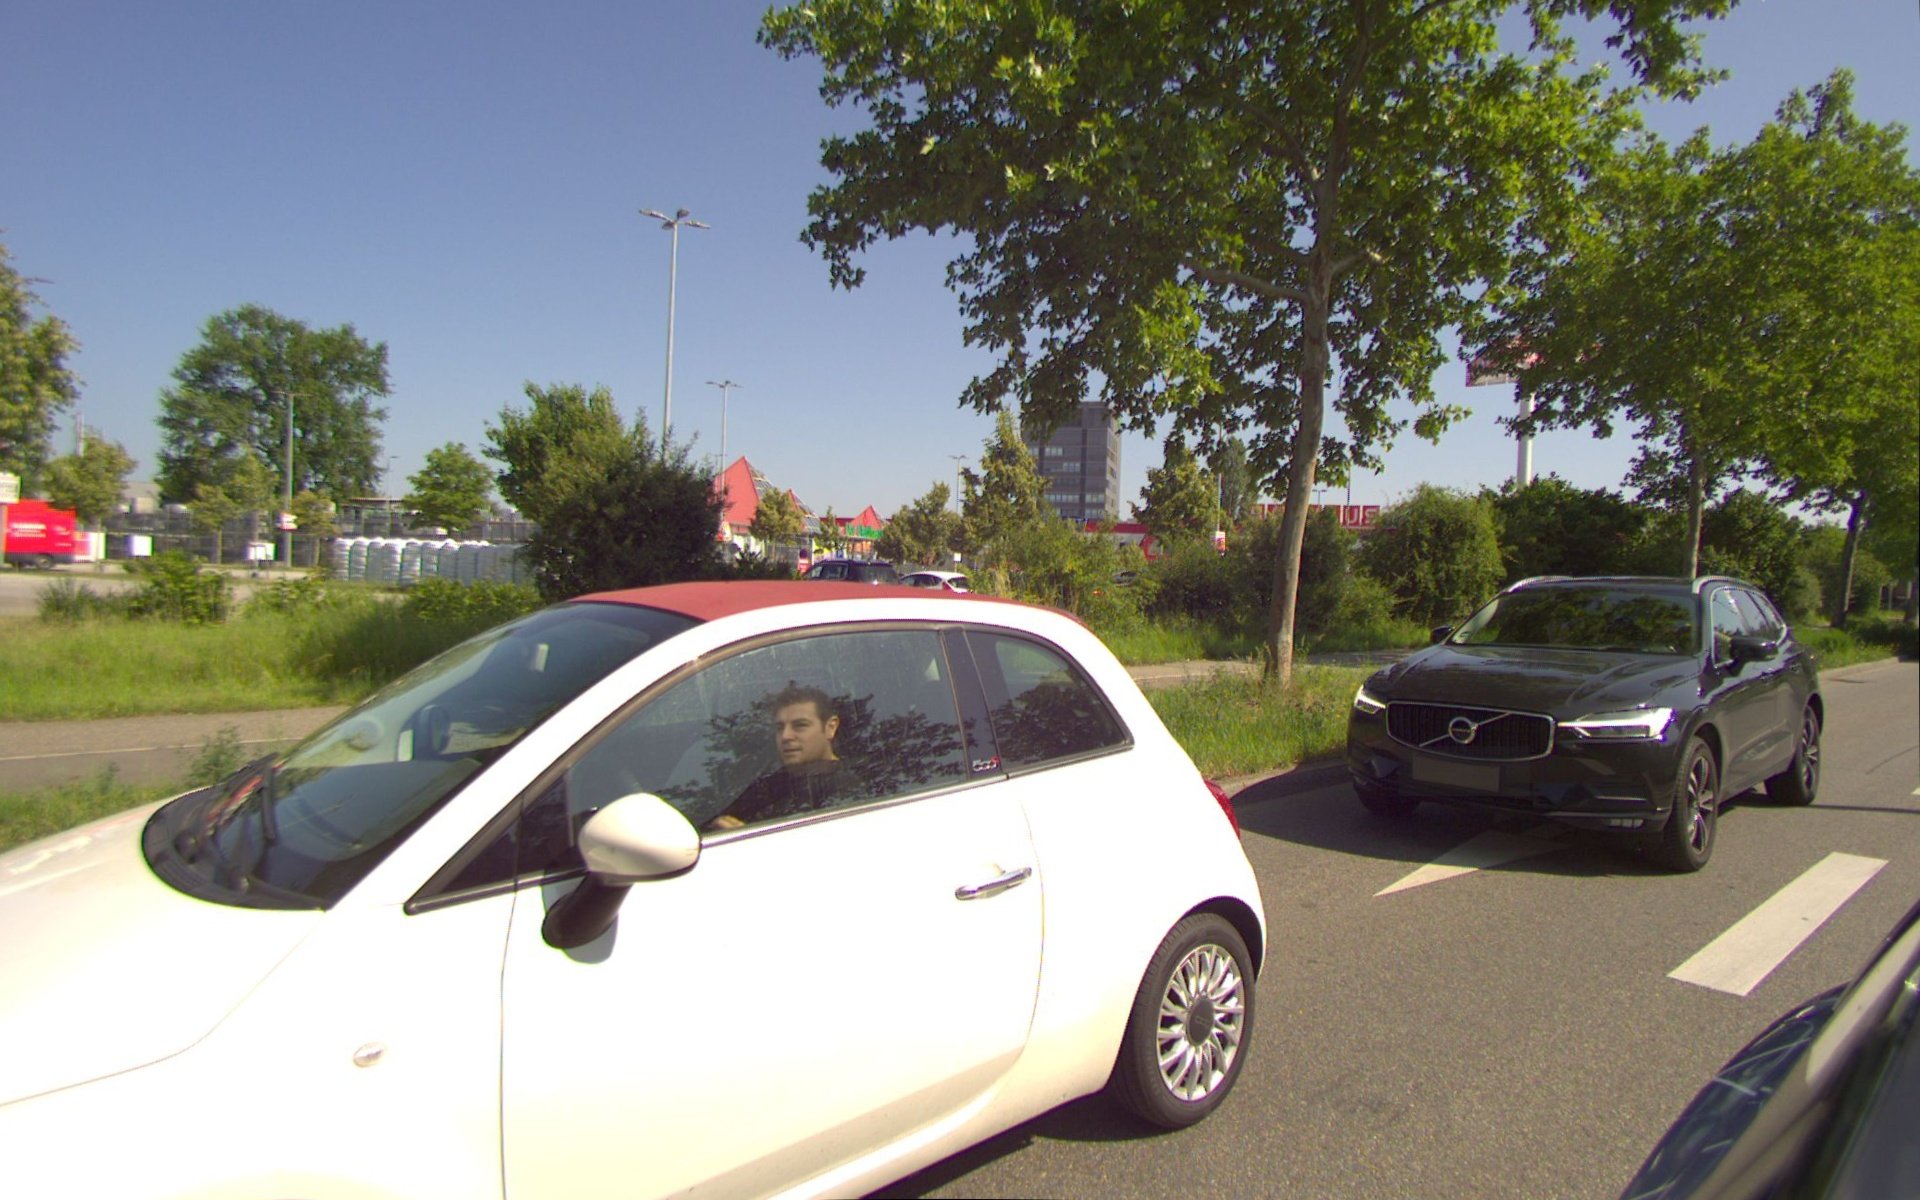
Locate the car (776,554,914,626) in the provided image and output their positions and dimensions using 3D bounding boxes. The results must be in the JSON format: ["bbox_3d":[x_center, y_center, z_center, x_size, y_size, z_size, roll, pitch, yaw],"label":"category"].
[{"bbox_3d":[-2.992,-0.270,25.962,3.549,1.717,1.692,1,1,45],"label":"car"}]

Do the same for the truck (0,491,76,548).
[{"bbox_3d":[-58.135,-4.884,60.597,1.971,3.289,8.190,0,1,15],"label":"truck"}]

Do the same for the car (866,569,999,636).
[{"bbox_3d":[-0.789,0.017,27.790,3.549,1.717,1.692,1,1,45],"label":"car"}]

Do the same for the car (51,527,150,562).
[{"bbox_3d":[-53.226,-3.410,62.782,1.971,2.039,4.370,1,1,15],"label":"car"}]

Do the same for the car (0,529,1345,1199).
[{"bbox_3d":[-0.714,0.620,2.601,3.456,1.454,1.665,0,1,-39],"label":"car"}]

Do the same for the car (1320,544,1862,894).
[{"bbox_3d":[4.532,0.526,6.955,4.485,1.642,1.923,0,1,-41],"label":"car"}]

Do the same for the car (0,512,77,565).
[{"bbox_3d":[-45.461,-2.902,47.482,2.087,2.370,5.903,1,1,18],"label":"car"}]
